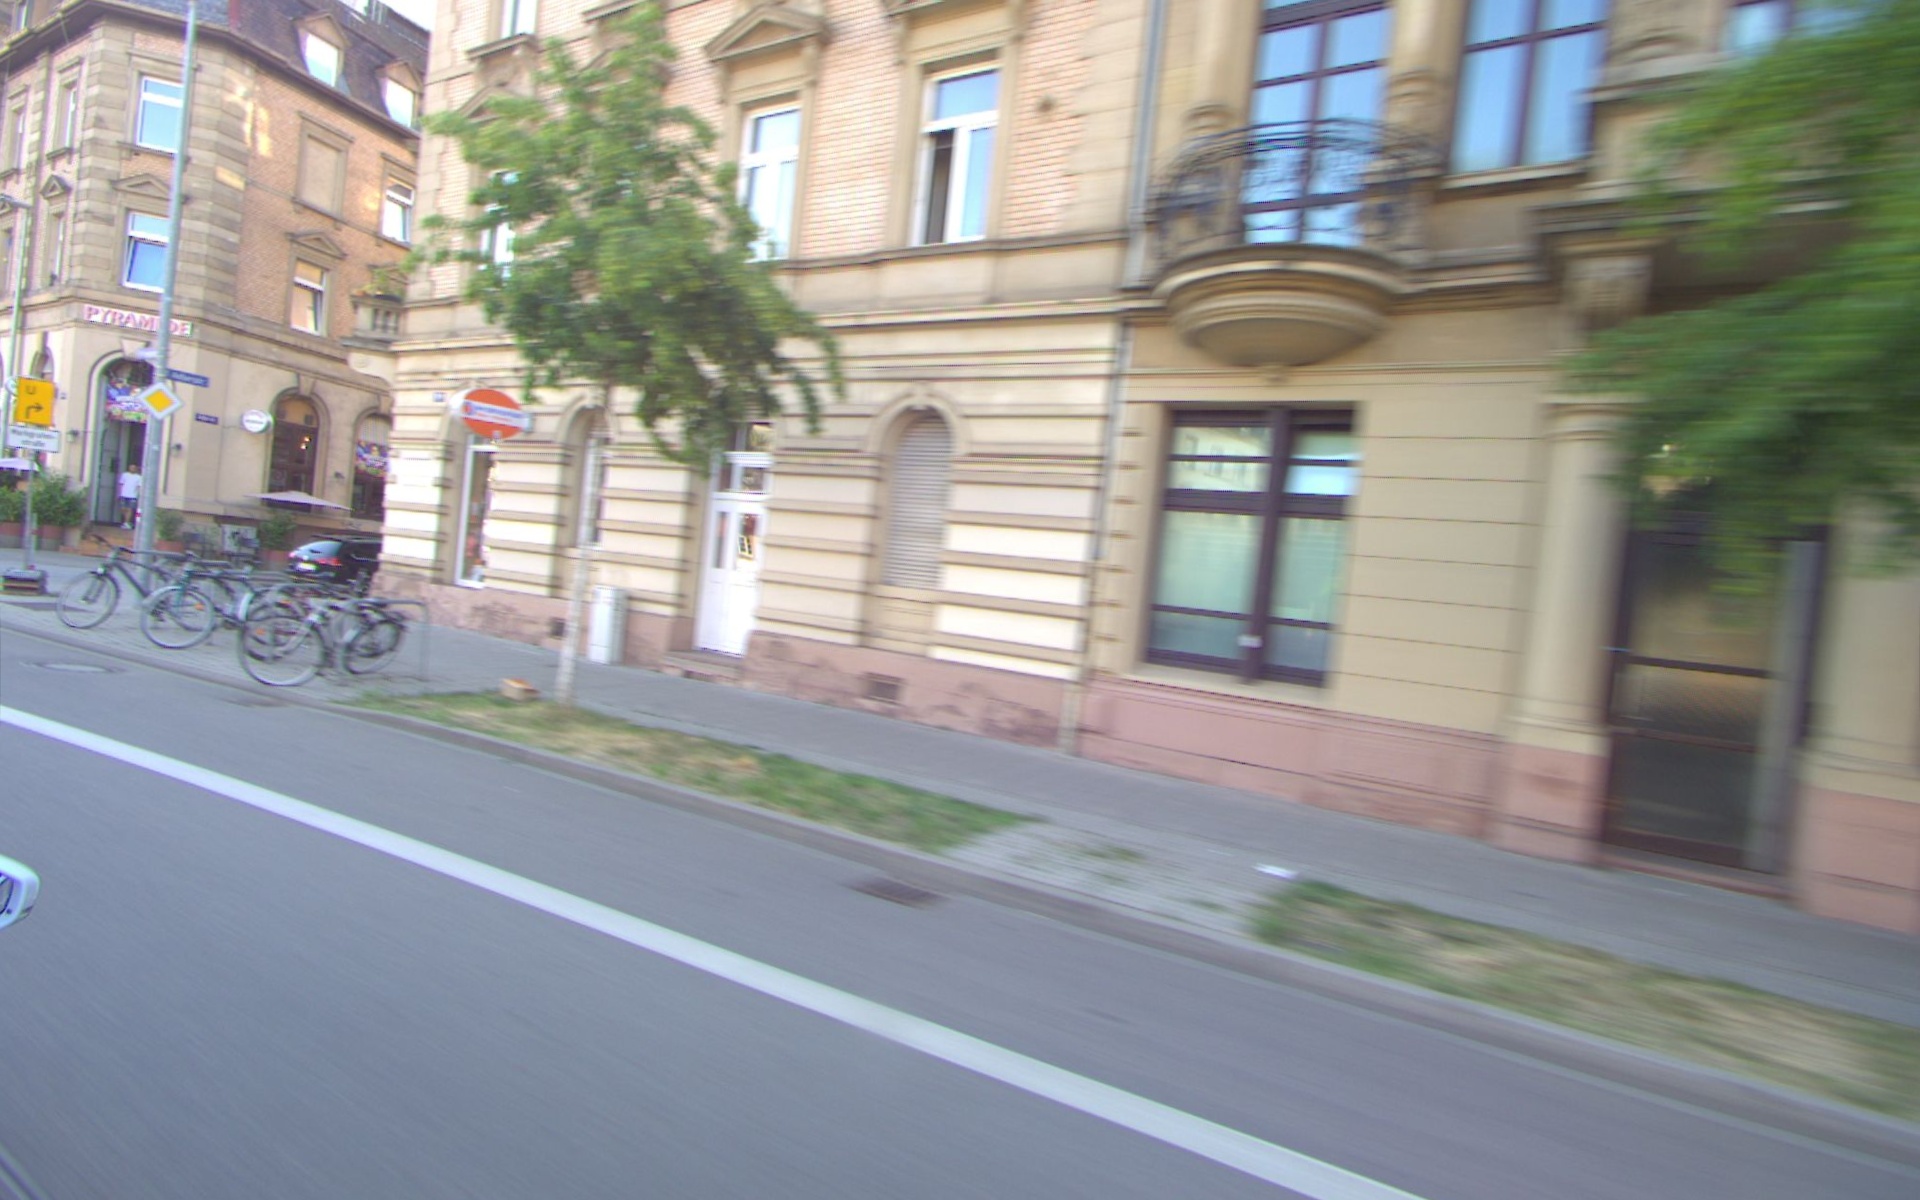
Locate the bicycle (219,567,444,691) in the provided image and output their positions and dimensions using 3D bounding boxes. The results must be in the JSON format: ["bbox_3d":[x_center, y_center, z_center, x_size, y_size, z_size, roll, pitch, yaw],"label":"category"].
[{"bbox_3d":[-6.298,0.266,10.195,0.652,1.079,1.827,8,4,26],"label":"bicycle"}]

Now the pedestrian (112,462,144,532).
[{"bbox_3d":[-21.905,-2.695,26.491,0.443,1.762,0.538,6,1,-31],"label":"pedestrian"}]

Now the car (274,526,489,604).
[{"bbox_3d":[-13.062,-0.735,23.022,1.588,1.405,4.153,6,0,20],"label":"car"}]

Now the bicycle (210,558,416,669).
[{"bbox_3d":[-7.202,0.136,11.293,0.652,1.079,1.827,8,4,26],"label":"bicycle"}]

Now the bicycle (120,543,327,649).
[{"bbox_3d":[-8.519,-0.042,11.726,0.652,1.079,1.827,8,4,26],"label":"bicycle"}]

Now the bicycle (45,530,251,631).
[{"bbox_3d":[-9.856,-0.223,12.295,0.652,1.079,1.827,8,4,26],"label":"bicycle"}]
